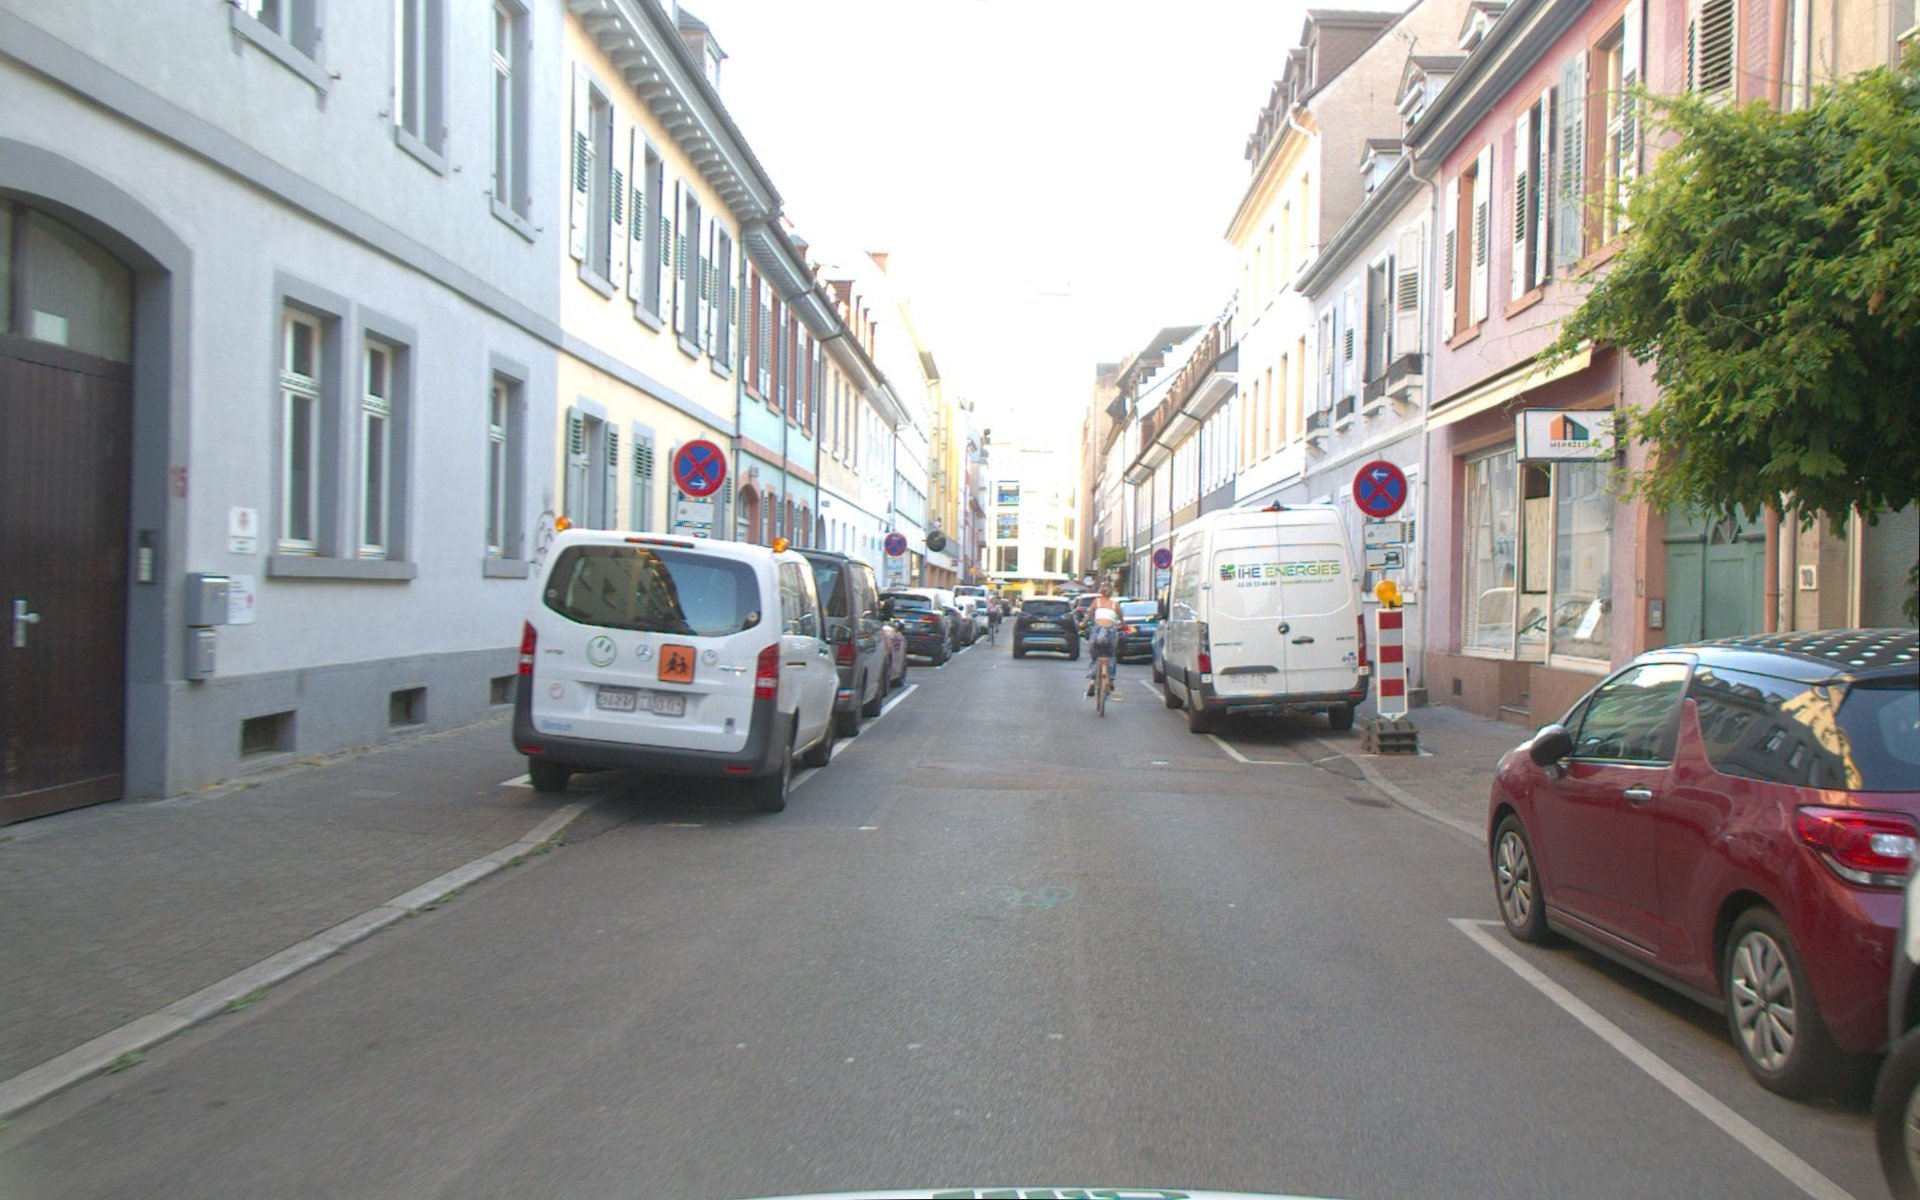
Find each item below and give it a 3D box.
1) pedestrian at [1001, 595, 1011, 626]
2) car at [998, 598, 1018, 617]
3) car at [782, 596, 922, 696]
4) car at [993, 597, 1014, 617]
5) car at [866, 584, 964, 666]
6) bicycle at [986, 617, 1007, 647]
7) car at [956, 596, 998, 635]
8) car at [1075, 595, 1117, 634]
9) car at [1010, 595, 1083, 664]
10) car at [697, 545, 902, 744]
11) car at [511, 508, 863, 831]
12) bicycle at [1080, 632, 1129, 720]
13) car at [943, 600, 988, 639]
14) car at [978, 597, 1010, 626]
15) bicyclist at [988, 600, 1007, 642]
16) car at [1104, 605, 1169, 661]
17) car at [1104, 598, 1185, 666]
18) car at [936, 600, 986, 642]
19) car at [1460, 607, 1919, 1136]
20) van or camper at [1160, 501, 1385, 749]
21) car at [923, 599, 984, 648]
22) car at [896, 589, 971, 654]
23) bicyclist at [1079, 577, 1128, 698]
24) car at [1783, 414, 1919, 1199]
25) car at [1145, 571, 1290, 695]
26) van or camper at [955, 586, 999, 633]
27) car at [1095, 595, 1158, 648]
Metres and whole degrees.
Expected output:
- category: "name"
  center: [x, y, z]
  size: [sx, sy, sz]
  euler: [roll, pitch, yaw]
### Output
- category: "pedestrian"
  center: [2.715, 0.612, 97.847]
  size: [0.542, 1.782, 0.568]
  euler: [2, 0, 0]
- category: "car"
  center: [4.233, 0.626, 146.129]
  size: [1.619, 1.588, 3.607]
  euler: [3, 0, 3]
- category: "car"
  center: [-1.656, 0.691, 26.696]
  size: [1.728, 1.426, 4.264]
  euler: [2, 0, 3]
- category: "car"
  center: [3.674, 0.605, 139.375]
  size: [1.619, 1.588, 3.607]
  euler: [3, 0, 3]
- category: "car"
  center: [-0.949, 0.533, 37.386]
  size: [1.765, 1.706, 4.492]
  euler: [1, 0, 4]
- category: "bicycle"
  center: [1.239, 1.059, 55.442]
  size: [0.600, 0.948, 1.887]
  euler: [2, 0, 4]
- category: "car"
  center: [0.768, 0.657, 71.510]
  size: [1.619, 1.588, 3.607]
  euler: [3, 0, 3]
- category: "car"
  center: [5.847, 0.618, 71.545]
  size: [1.619, 1.588, 3.607]
  euler: [3, 0, 3]
- category: "car"
  center: [2.256, 0.733, 43.613]
  size: [1.782, 1.646, 4.001]
  euler: [3, 0, 2]
- category: "car"
  center: [-1.761, 0.456, 19.693]
  size: [1.824, 2.049, 4.815]
  euler: [1, 0, 1]
- category: "car"
  center: [-1.913, 0.442, 13.237]
  size: [1.824, 2.049, 5.107]
  euler: [1, 0, 1]
- category: "bicycle"
  center: [1.960, 1.009, 22.606]
  size: [0.600, 1.101, 1.810]
  euler: [2, 0, 4]
- category: "car"
  center: [0.247, 0.759, 66.547]
  size: [1.619, 1.435, 3.607]
  euler: [3, 0, 3]
- category: "car"
  center: [1.937, 0.644, 94.016]
  size: [1.619, 1.588, 3.607]
  euler: [3, 0, 3]
- category: "bicyclist"
  center: [1.261, 0.700, 55.488]
  size: [0.593, 1.393, 0.621]
  euler: [2, 0, 3]
- category: "car"
  center: [5.220, 0.943, 49.312]
  size: [1.641, 1.512, 4.001]
  euler: [3, 0, 3]
- category: "car"
  center: [4.650, 0.781, 42.181]
  size: [1.781, 1.557, 5.073]
  euler: [-2, 0, 4]
- category: "car"
  center: [0.067, 0.753, 61.457]
  size: [1.619, 1.435, 3.904]
  euler: [3, 0, 3]
- category: "car"
  center: [3.422, 0.824, 6.770]
  size: [1.621, 1.531, 3.754]
  euler: [1, 0, 0]
- category: "van or camper"
  center: [3.862, 0.262, 21.731]
  size: [2.007, 2.683, 7.066]
  euler: [1, 0, 4]
- category: "car"
  center: [-0.183, 0.750, 54.858]
  size: [1.878, 1.459, 4.294]
  euler: [3, 0, 1]
- category: "car"
  center: [-0.720, 0.592, 48.564]
  size: [1.957, 1.737, 4.536]
  euler: [3, 0, 1]
- category: "bicyclist"
  center: [1.953, 0.505, 22.529]
  size: [0.608, 1.602, 0.684]
  euler: [2, 0, 4]
- category: "car"
  center: [2.925, 0.554, 1.829]
  size: [1.895, 1.931, 5.280]
  euler: [1, 0, 6]
- category: "car"
  center: [4.450, 0.550, 29.340]
  size: [1.901, 1.927, 5.319]
  euler: [-2, 0, 2]
- category: "van or camper"
  center: [0.818, 0.426, 77.364]
  size: [1.806, 2.048, 4.680]
  euler: [3, 0, 3]
- category: "car"
  center: [5.947, 0.739, 59.458]
  size: [1.878, 1.768, 4.154]
  euler: [3, 0, 2]
